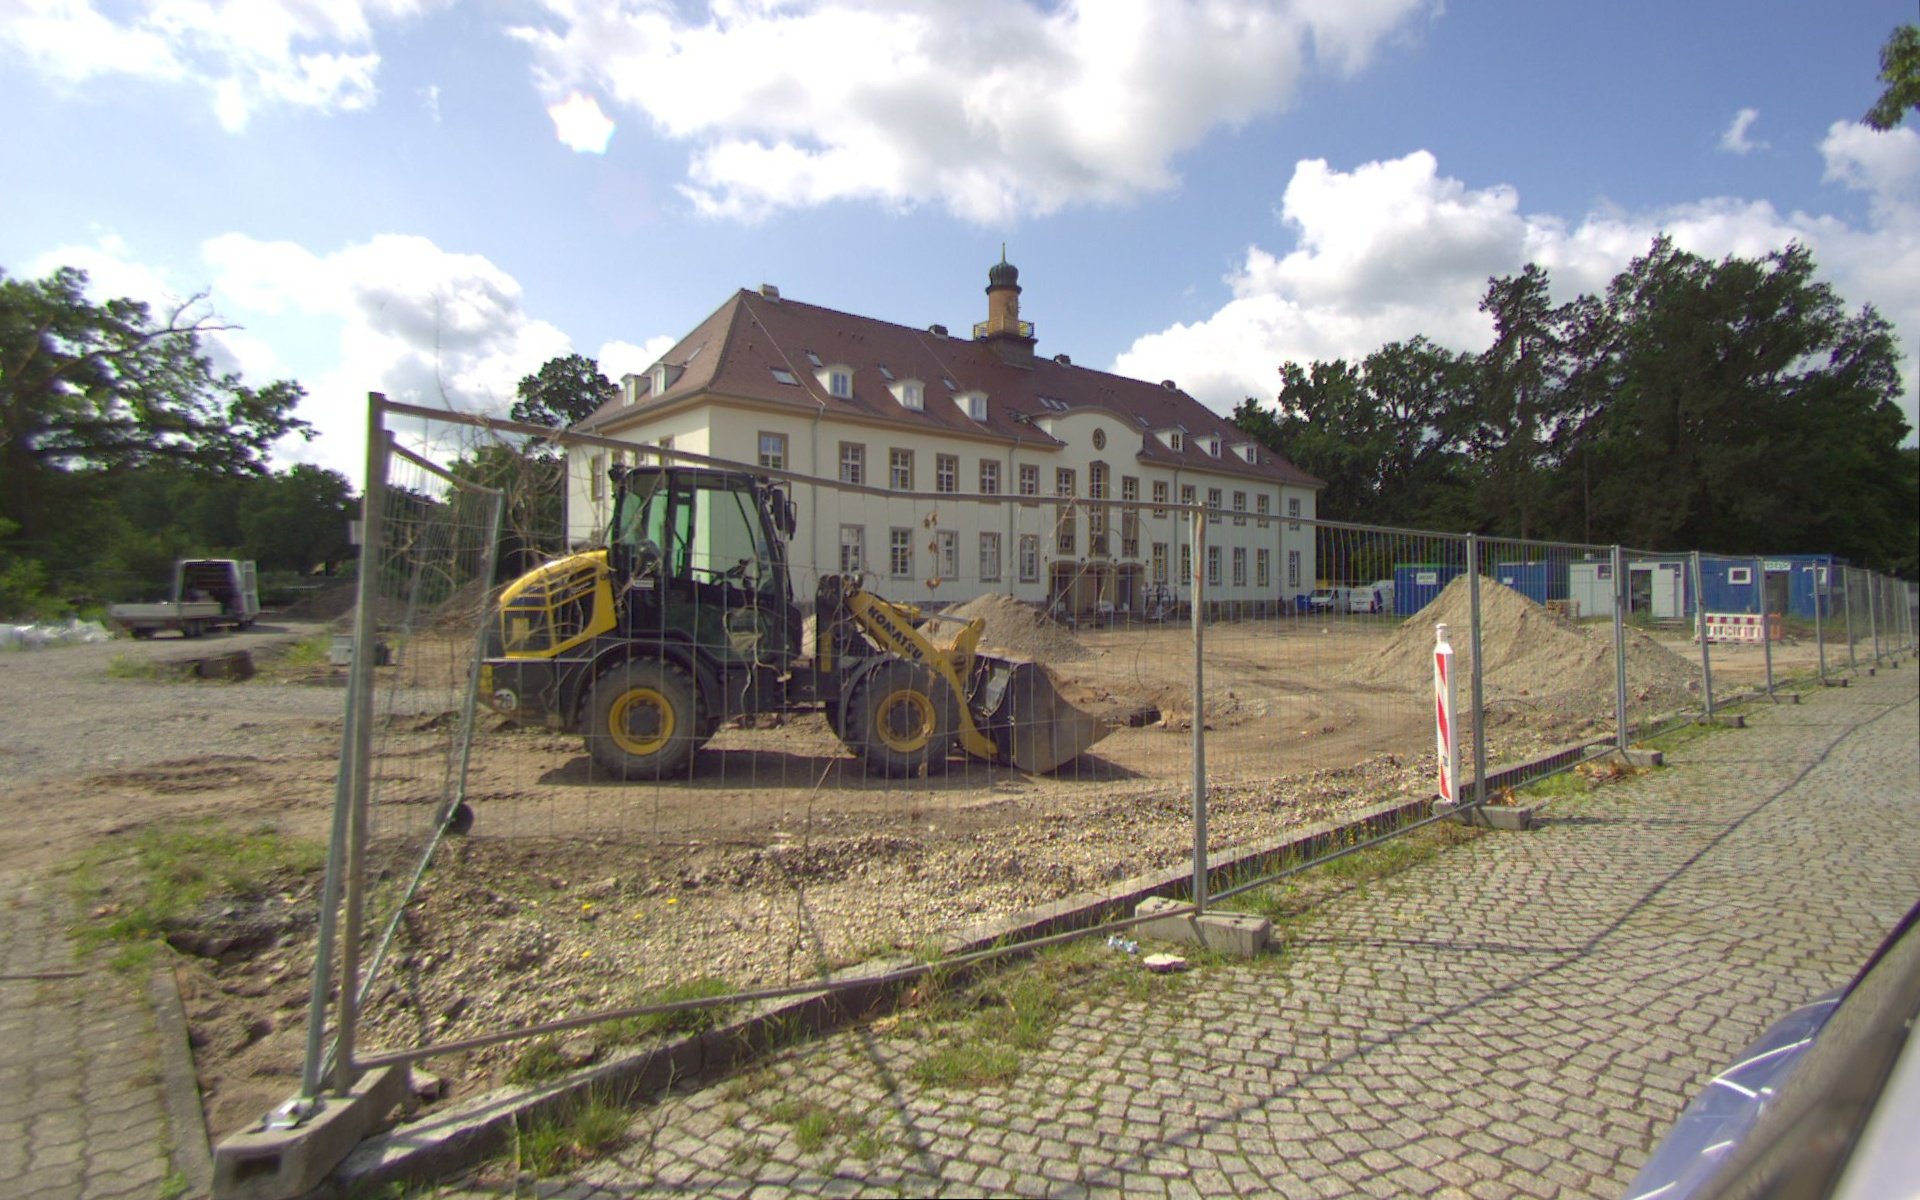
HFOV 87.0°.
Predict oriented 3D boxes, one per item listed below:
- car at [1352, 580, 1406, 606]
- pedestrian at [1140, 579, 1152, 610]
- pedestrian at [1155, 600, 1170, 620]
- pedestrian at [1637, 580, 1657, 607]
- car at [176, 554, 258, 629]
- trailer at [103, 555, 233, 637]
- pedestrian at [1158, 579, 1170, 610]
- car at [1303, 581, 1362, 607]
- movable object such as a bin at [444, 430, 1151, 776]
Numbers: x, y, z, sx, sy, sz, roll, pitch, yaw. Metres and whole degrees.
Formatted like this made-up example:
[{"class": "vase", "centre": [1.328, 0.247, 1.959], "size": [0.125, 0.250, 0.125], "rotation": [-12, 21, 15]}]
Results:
[{"class": "car", "centre": [28.139, -0.483, 67.921], "size": [3.969, 1.704, 1.801], "rotation": [-1, 1, -41]}, {"class": "pedestrian", "centre": [10.755, -0.304, 58.417], "size": [0.496, 1.810, 0.492], "rotation": [0, -1, -19]}, {"class": "pedestrian", "centre": [11.460, 0.558, 57.227], "size": [0.698, 1.128, 0.490], "rotation": [0, -1, -43]}, {"class": "pedestrian", "centre": [31.749, -0.308, 46.779], "size": [0.671, 1.259, 0.601], "rotation": [0, -1, -43]}, {"class": "car", "centre": [-27.997, -0.343, 38.289], "size": [2.203, 2.623, 5.441], "rotation": [0, 1, -33]}, {"class": "trailer", "centre": [-25.947, -0.160, 33.368], "size": [1.920, 2.503, 4.855], "rotation": [0, 1, -19]}, {"class": "pedestrian", "centre": [11.978, -0.317, 59.392], "size": [0.498, 1.810, 0.490], "rotation": [0, -1, -44]}, {"class": "car", "centre": [25.826, -0.414, 70.109], "size": [4.625, 1.750, 1.883], "rotation": [-1, 1, -41]}, {"class": "movable object such as a bin", "centre": [-1.325, 0.050, 9.120], "size": [5.537, 2.553, 2.154], "rotation": [1, 0, -13]}]
